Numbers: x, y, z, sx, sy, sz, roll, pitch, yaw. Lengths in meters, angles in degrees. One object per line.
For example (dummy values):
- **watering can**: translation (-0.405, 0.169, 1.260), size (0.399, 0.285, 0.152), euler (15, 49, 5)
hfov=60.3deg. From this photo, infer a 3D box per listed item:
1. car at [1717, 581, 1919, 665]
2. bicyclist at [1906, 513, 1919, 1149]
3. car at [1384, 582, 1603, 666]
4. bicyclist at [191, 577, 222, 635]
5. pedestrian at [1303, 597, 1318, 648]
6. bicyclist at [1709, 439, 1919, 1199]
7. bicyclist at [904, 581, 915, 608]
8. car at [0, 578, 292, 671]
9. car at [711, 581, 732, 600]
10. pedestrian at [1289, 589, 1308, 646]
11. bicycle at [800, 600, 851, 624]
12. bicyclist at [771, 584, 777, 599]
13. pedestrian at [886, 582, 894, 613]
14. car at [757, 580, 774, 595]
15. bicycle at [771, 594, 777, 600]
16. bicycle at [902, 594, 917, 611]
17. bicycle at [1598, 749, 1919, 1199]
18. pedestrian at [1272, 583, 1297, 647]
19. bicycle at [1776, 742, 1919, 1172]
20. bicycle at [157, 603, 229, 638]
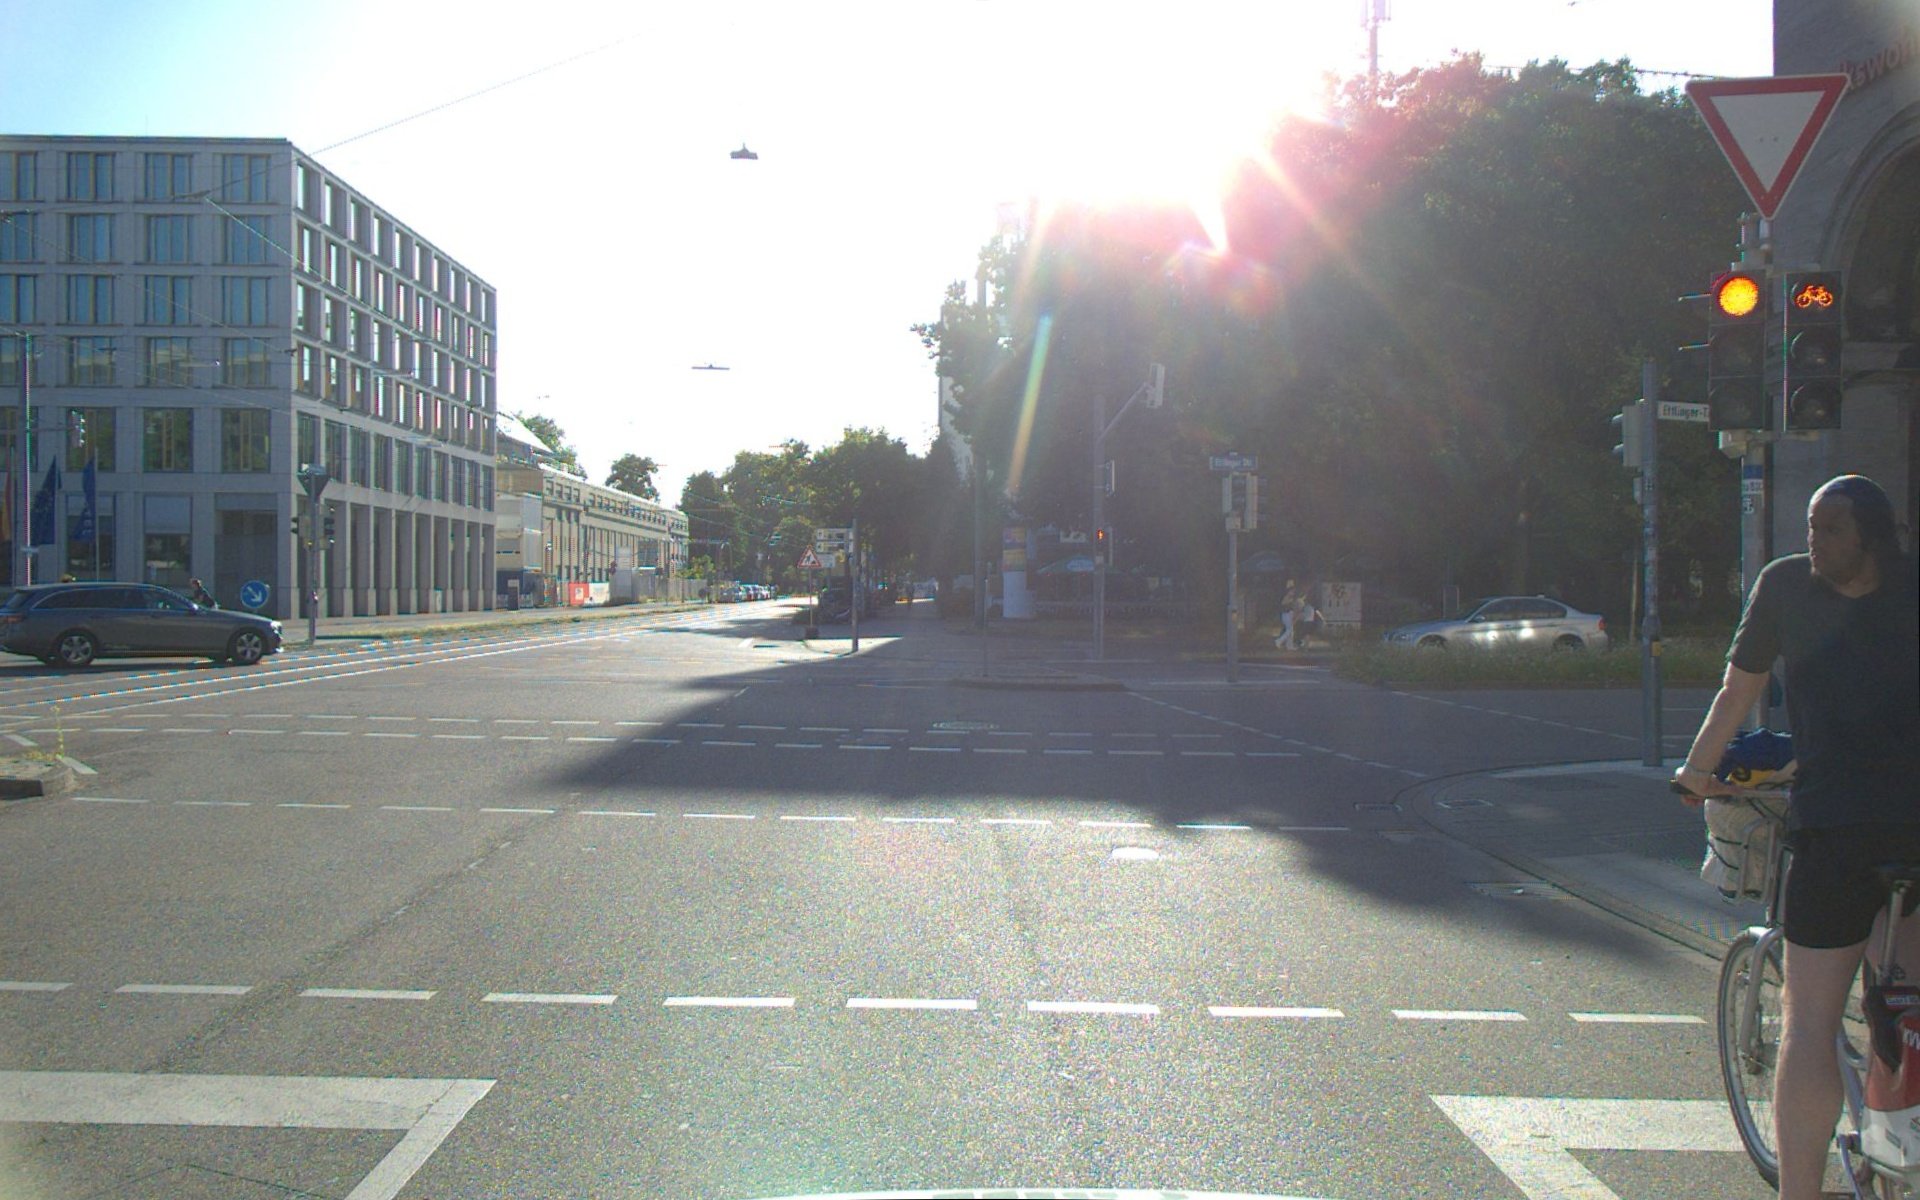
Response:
- **car**: translation (17.625, 0.450, 33.556), size (3.770, 1.639, 1.650), euler (0, 0, -1)
- **bicyclist**: translation (2.889, 0.629, 4.232), size (0.546, 1.721, 0.640), euler (1, 0, -2)
- **car**: translation (10.775, 0.478, 33.564), size (3.912, 1.639, 1.650), euler (0, 0, -1)
- **bicyclist**: translation (-21.484, 0.162, 47.153), size (0.764, 1.617, 0.756), euler (0, 0, -23)
- **pedestrian**: translation (9.232, 0.596, 43.551), size (0.310, 1.339, 0.345), euler (1, 1, 1)
- **bicyclist**: translation (2.095, 0.580, 3.733), size (0.547, 1.830, 0.550), euler (1, 0, 1)
- **bicyclist**: translation (-3.276, -0.355, 106.768), size (0.560, 1.721, 0.696), euler (0, 0, -16)
- **car**: translation (-15.079, 0.402, 30.583), size (4.762, 1.592, 1.871), euler (0, 0, -40)
- **car**: translation (-22.475, -0.900, 156.113), size (1.659, 1.748, 4.244), euler (1, 0, -4)
- **pedestrian**: translation (9.139, 0.458, 44.651), size (0.430, 1.529, 0.437), euler (0, 0, 0)
- **bicycle**: translation (-5.486, 0.507, 67.385), size (1.976, 0.907, 0.650), euler (-2, -1, 27)
- **bicyclist**: translation (-18.344, -0.846, 163.015), size (0.584, 1.401, 0.637), euler (1, -1, -2)
- **pedestrian**: translation (-4.182, -0.146, 98.212), size (0.454, 1.845, 0.502), euler (0, 0, -5)
- **car**: translation (-22.835, -1.437, 194.362), size (1.659, 1.748, 4.244), euler (1, 0, -4)
- **bicycle**: translation (-18.348, -0.276, 163.021), size (0.491, 0.524, 1.257), euler (1, 0, -1)
- **bicycle**: translation (-3.275, 0.165, 106.732), size (0.566, 1.096, 1.822), euler (0, 0, -16)
- **bicycle**: translation (2.077, 0.982, 3.892), size (0.505, 1.096, 1.728), euler (1, 0, 1)
- **pedestrian**: translation (8.679, 0.399, 44.252), size (0.571, 1.692, 0.514), euler (1, 1, 1)
- **bicycle**: translation (2.864, 1.002, 4.340), size (0.523, 1.096, 1.750), euler (1, 0, -2)
- **bicycle**: translation (-21.807, 0.582, 47.049), size (1.834, 0.951, 0.757), euler (0, 0, -25)
